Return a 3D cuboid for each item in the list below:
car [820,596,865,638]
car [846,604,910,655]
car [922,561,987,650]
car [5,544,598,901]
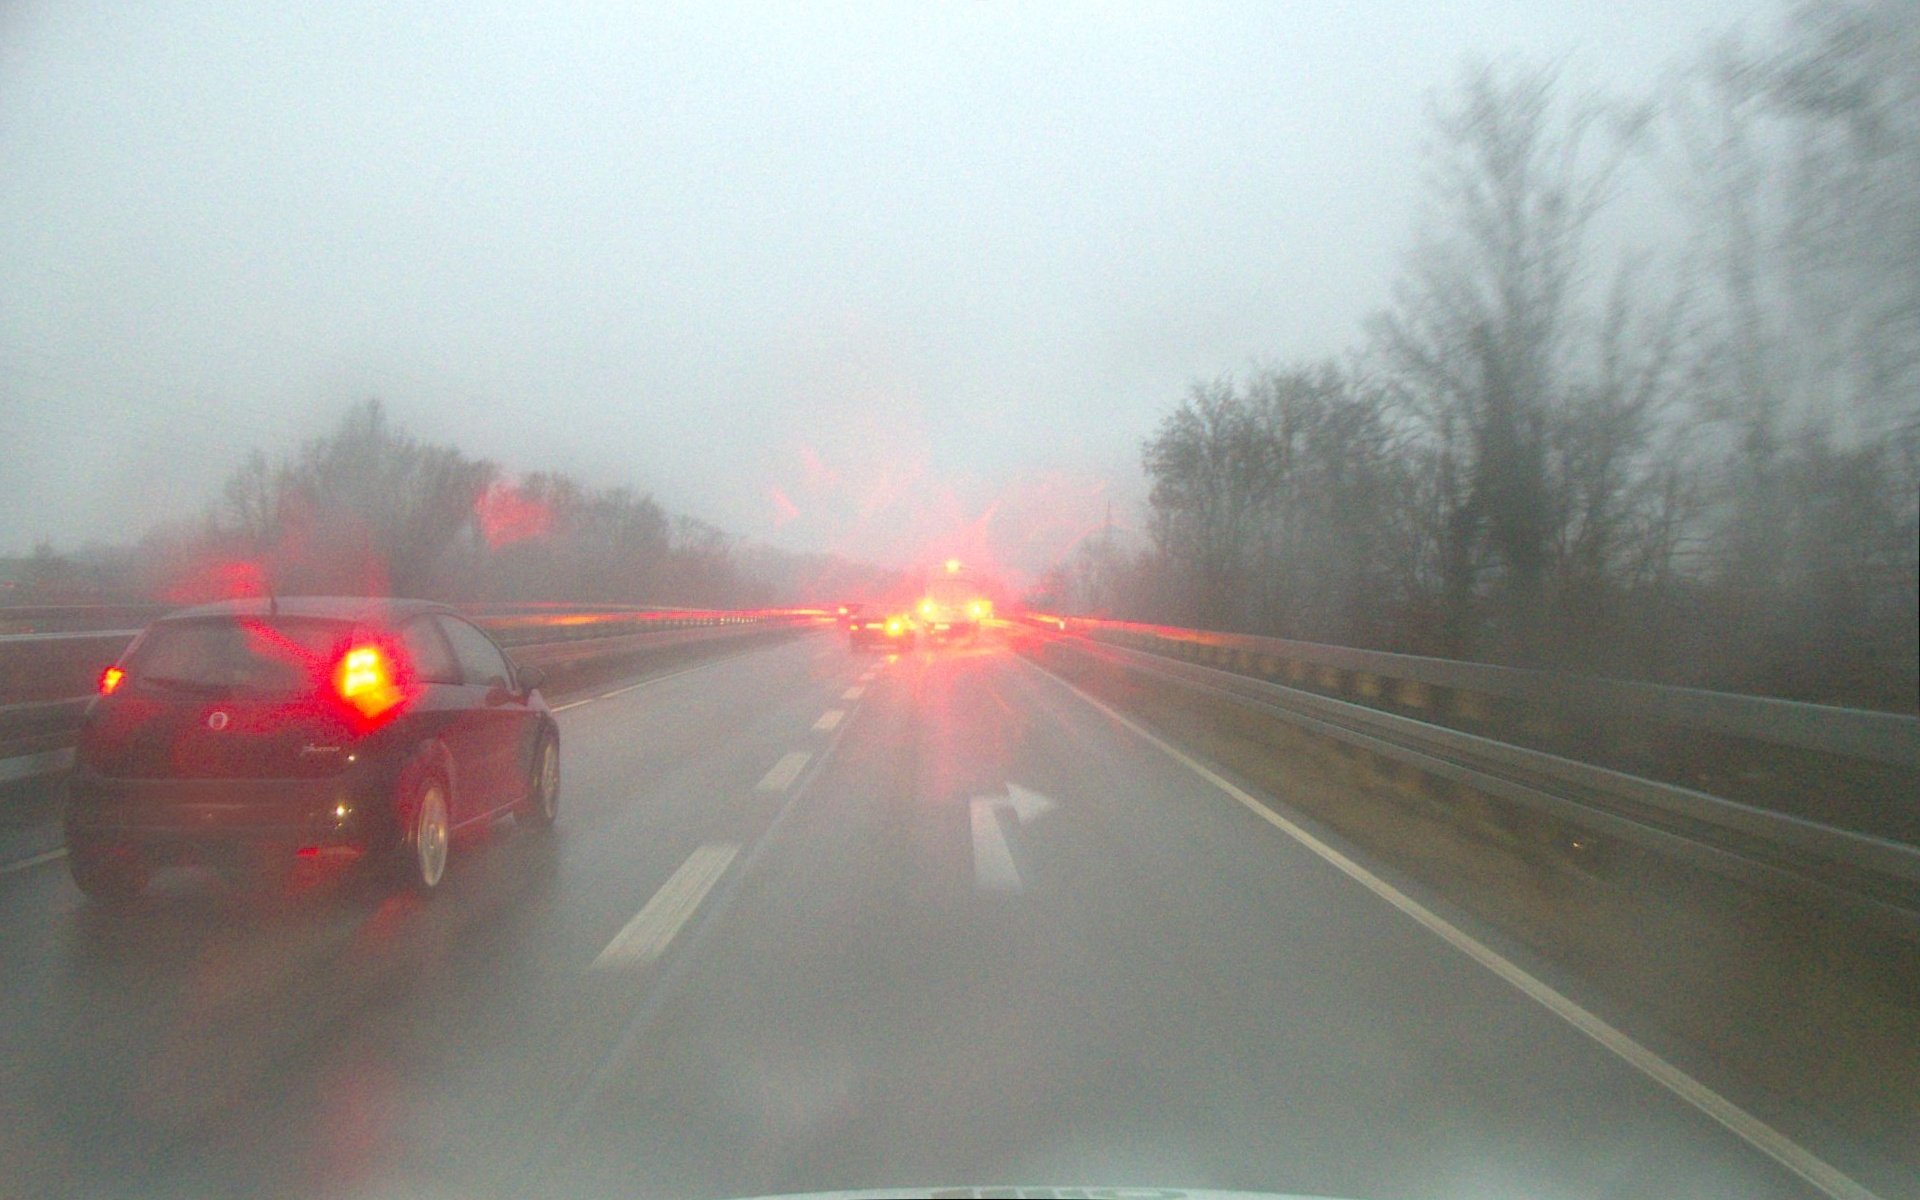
[{"bbox_3d":[-5.659,0.831,80.066,1.954,1.846,3.998,3,-1,-3],"label":"car"},{"bbox_3d":[-2.512,0.916,51.527,1.701,1.439,4.377,3,-1,0],"label":"car"},{"bbox_3d":[-0.226,0.279,60.137,2.235,3.018,6.388,0,-2,-1],"label":"car"},{"bbox_3d":[-3.347,0.627,9.337,1.695,1.560,4.041,0,-3,0],"label":"car"}]
